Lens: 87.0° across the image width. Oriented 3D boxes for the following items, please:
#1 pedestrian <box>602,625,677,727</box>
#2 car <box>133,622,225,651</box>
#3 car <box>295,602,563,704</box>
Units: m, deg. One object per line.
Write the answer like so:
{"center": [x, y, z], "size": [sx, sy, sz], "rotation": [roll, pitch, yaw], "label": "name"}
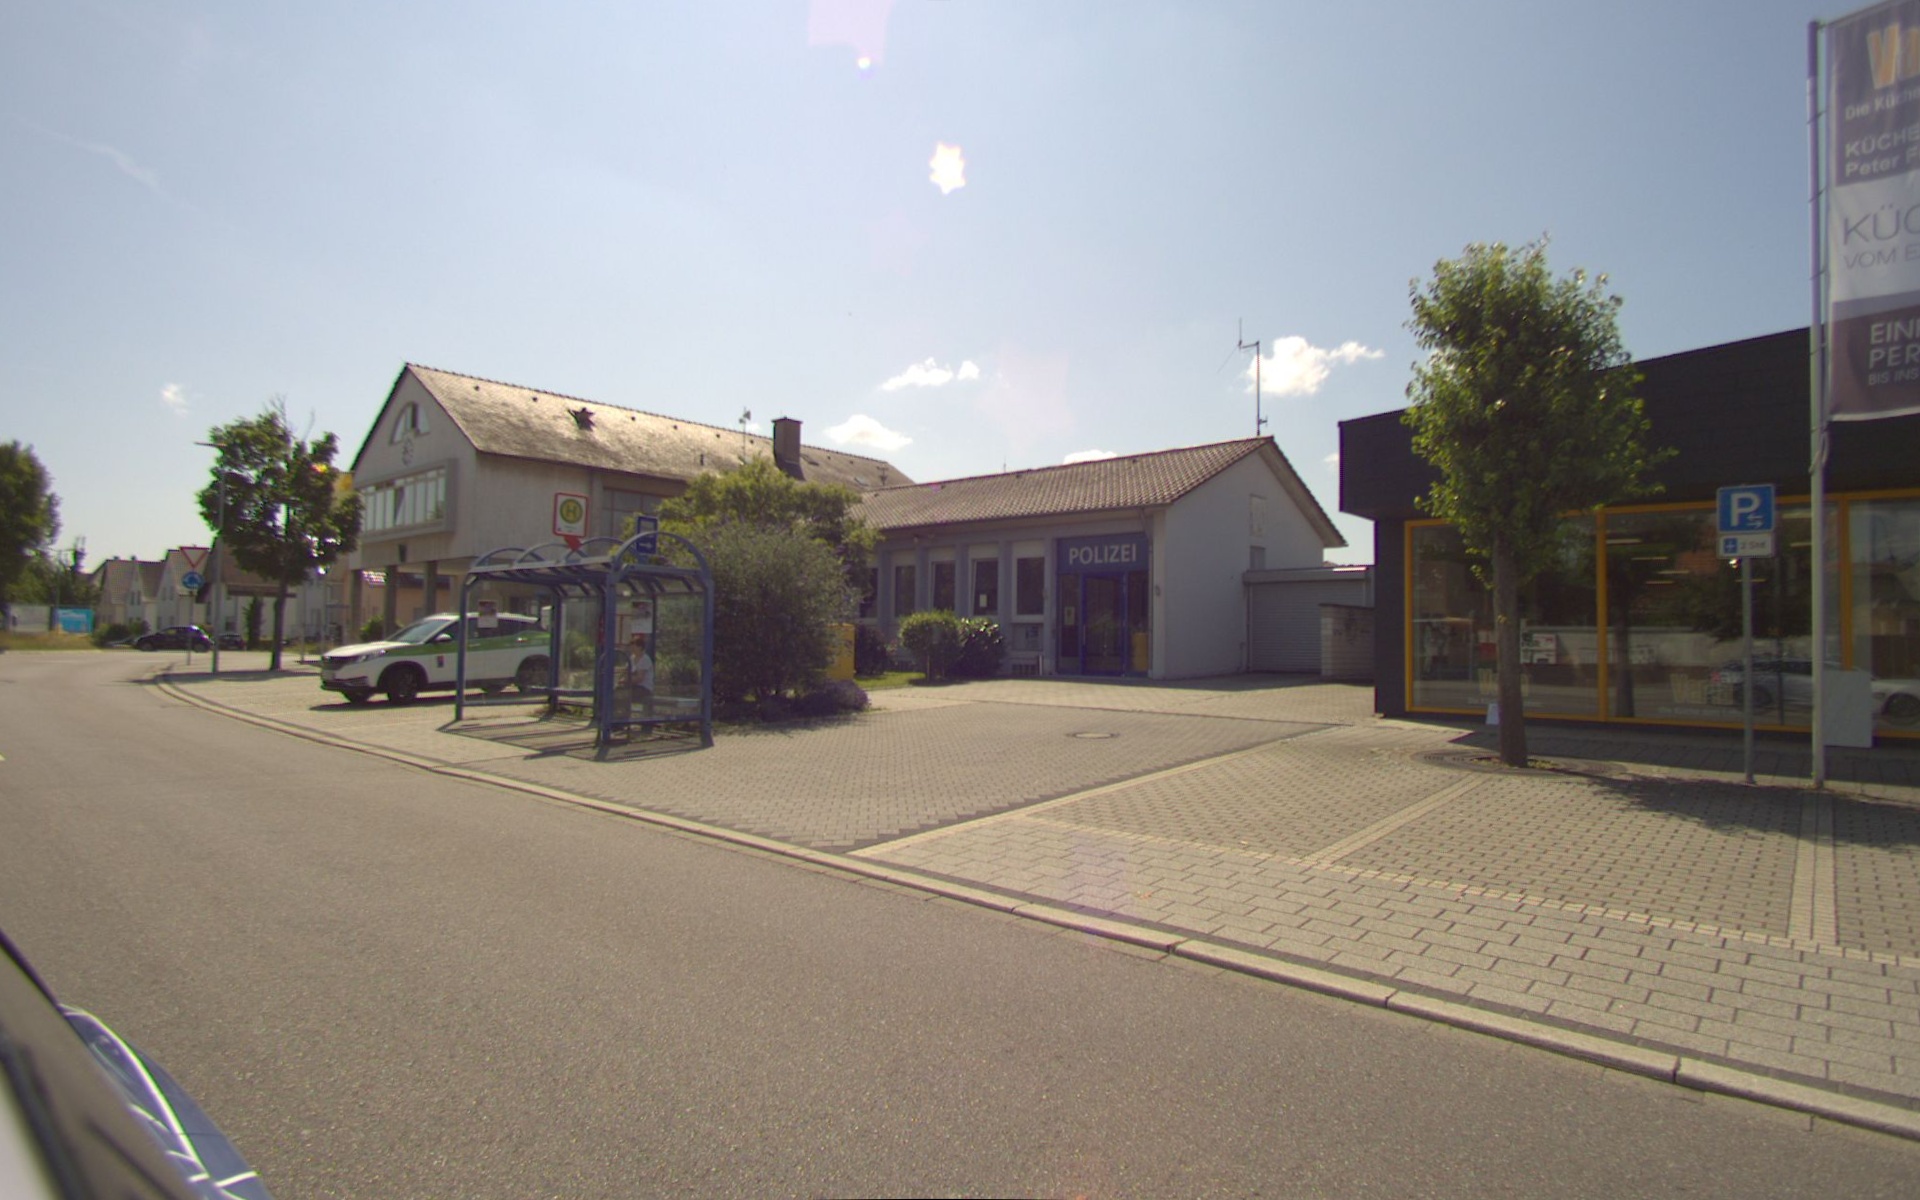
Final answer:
{"center": [-4.482, 1.041, 14.160], "size": [0.607, 1.368, 0.776], "rotation": [-1, -2, 41], "label": "pedestrian"}
{"center": [-42.684, 1.967, 55.389], "size": [3.935, 1.504, 2.004], "rotation": [0, 0, -38], "label": "car"}
{"center": [-10.124, 0.919, 19.582], "size": [1.941, 1.732, 4.202], "rotation": [0, 0, 35], "label": "car"}
